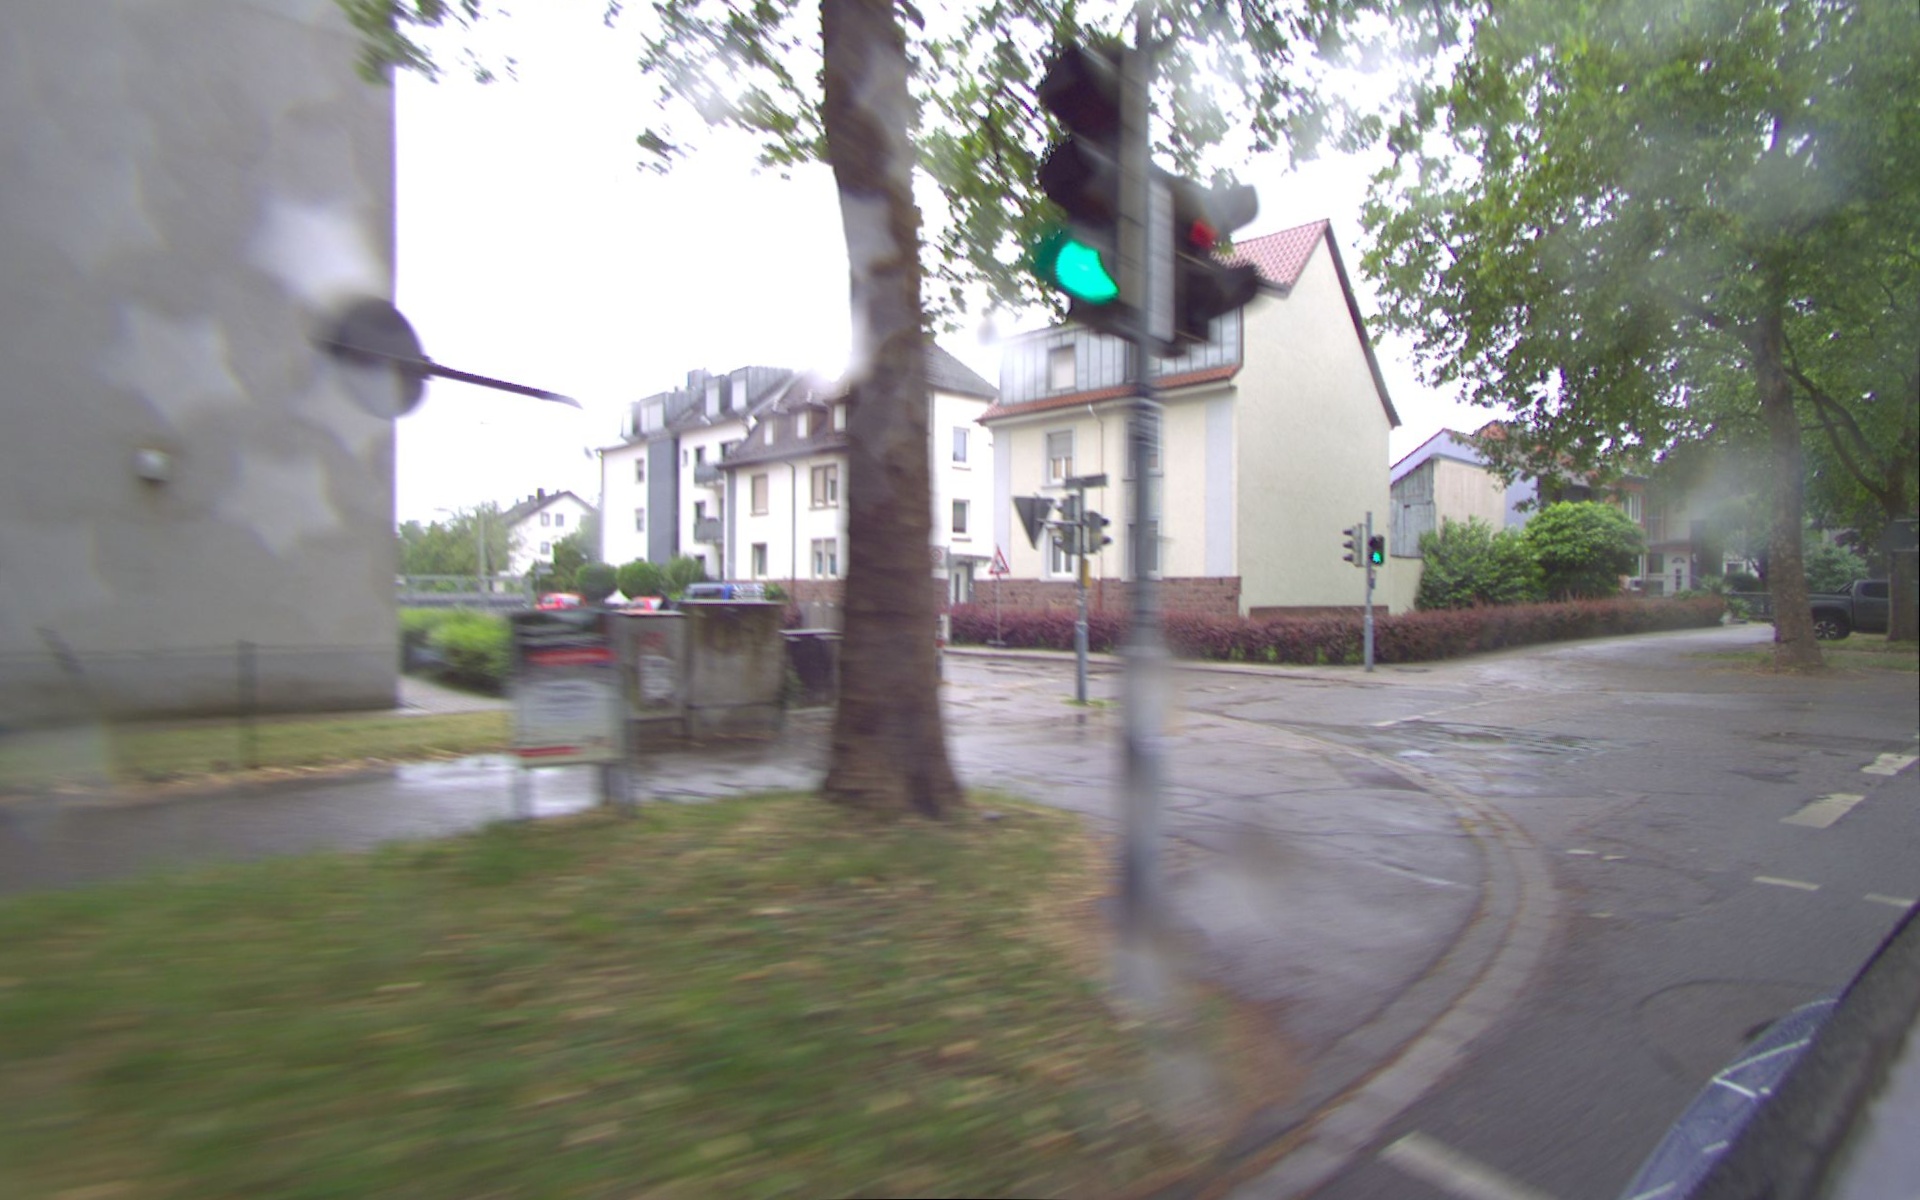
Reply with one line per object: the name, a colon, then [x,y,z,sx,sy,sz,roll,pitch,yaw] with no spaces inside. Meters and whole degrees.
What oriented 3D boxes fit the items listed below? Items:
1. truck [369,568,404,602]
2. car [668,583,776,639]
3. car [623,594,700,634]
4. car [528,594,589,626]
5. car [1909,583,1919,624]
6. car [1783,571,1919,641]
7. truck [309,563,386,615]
truck: [-48.393,-1.240,85.329,2.043,2.822,5.237,0,0,-36]
car: [-8.711,0.359,36.779,1.894,1.900,4.674,0,0,-41]
car: [-12.147,0.516,41.033,1.690,1.519,3.512,0,0,-41]
car: [-19.693,0.463,49.577,1.690,1.519,3.512,0,0,-41]
car: [36.425,0.153,36.235,1.589,1.482,3.365,0,1,-37]
car: [26.340,0.171,27.966,1.814,1.829,5.345,0,2,-43]
truck: [-36.467,-0.644,60.066,2.499,2.887,8.519,0,0,-41]
